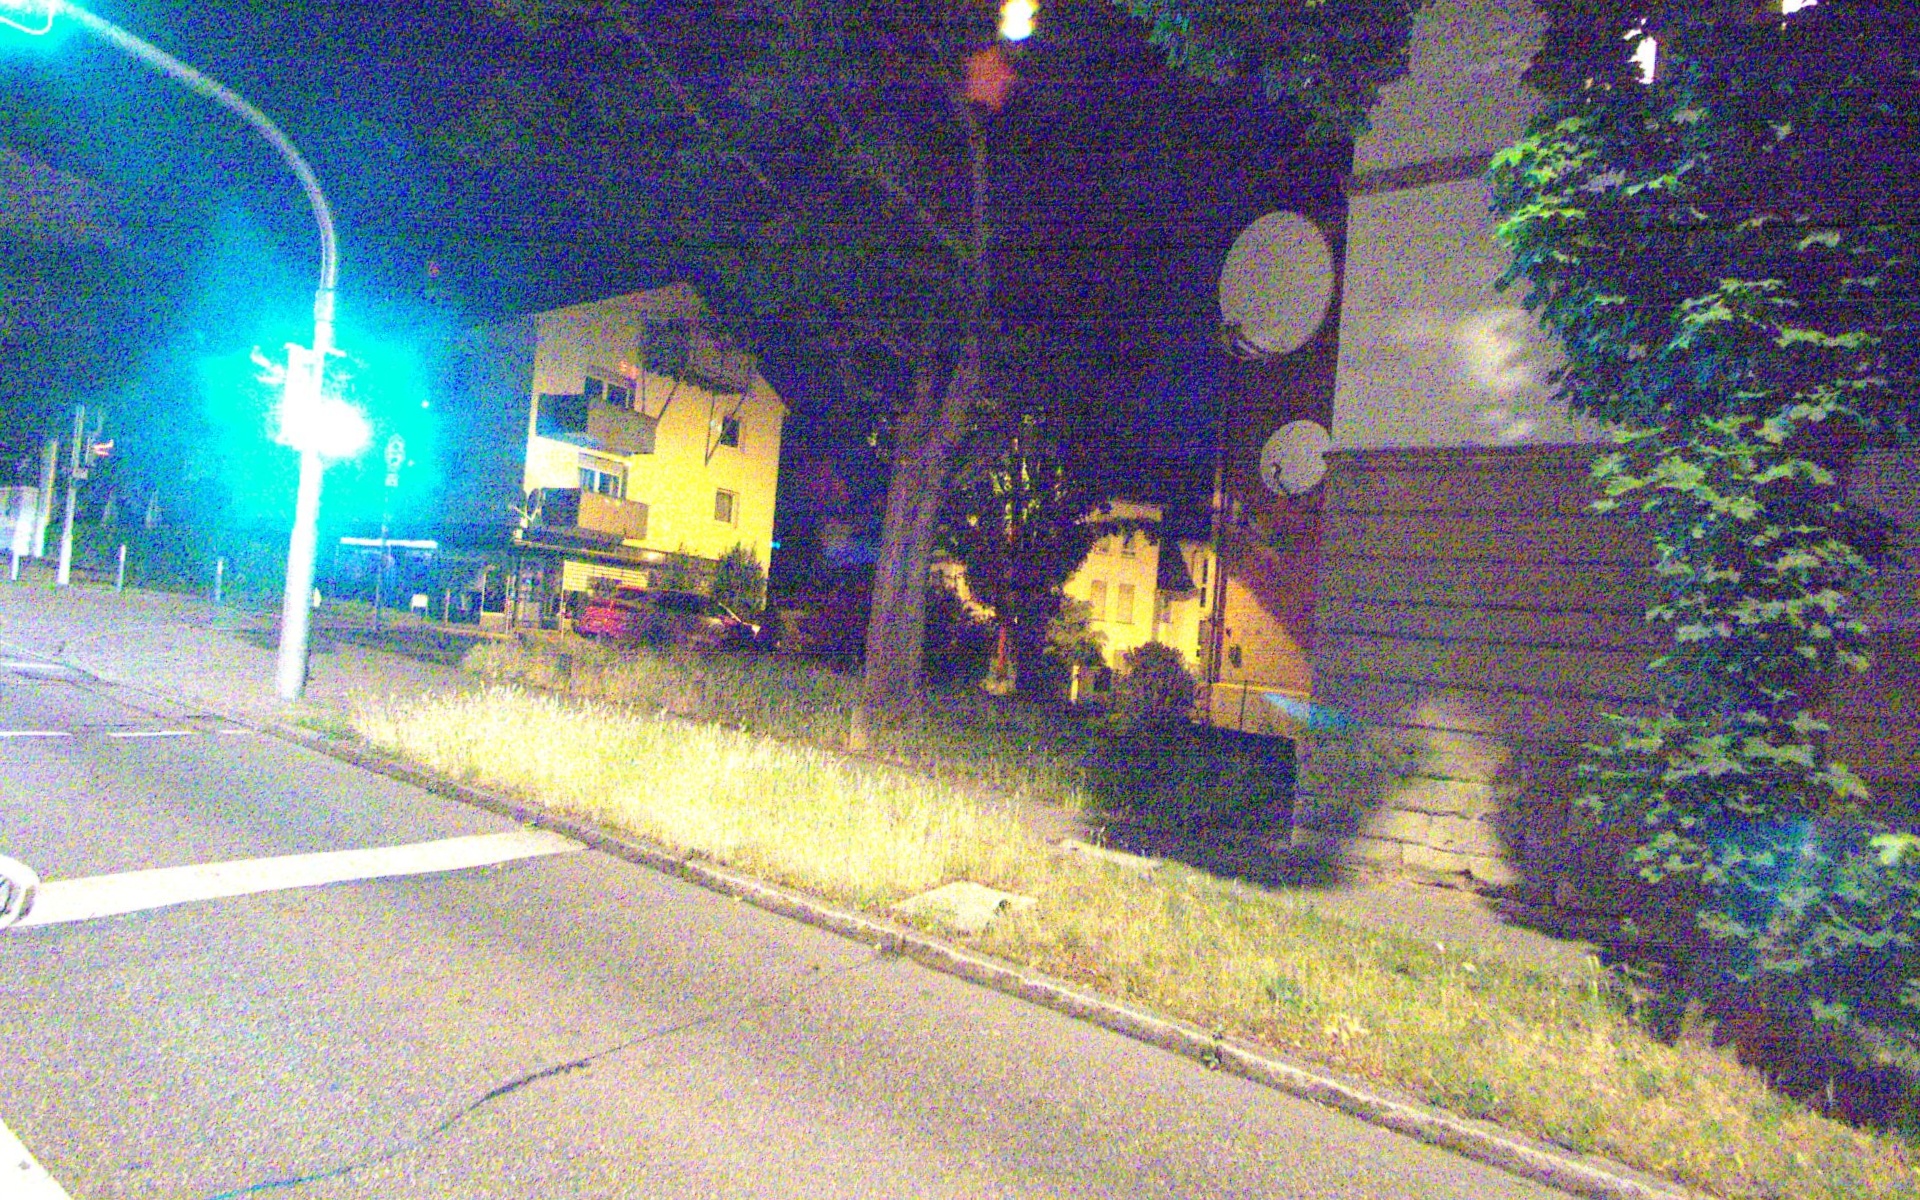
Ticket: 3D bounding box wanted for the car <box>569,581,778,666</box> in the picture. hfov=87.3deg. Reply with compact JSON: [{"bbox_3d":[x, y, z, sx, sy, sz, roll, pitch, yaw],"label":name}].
[{"bbox_3d":[-6.507,0.589,23.297,1.778,1.577,4.366,3,-3,38],"label":"car"}]
